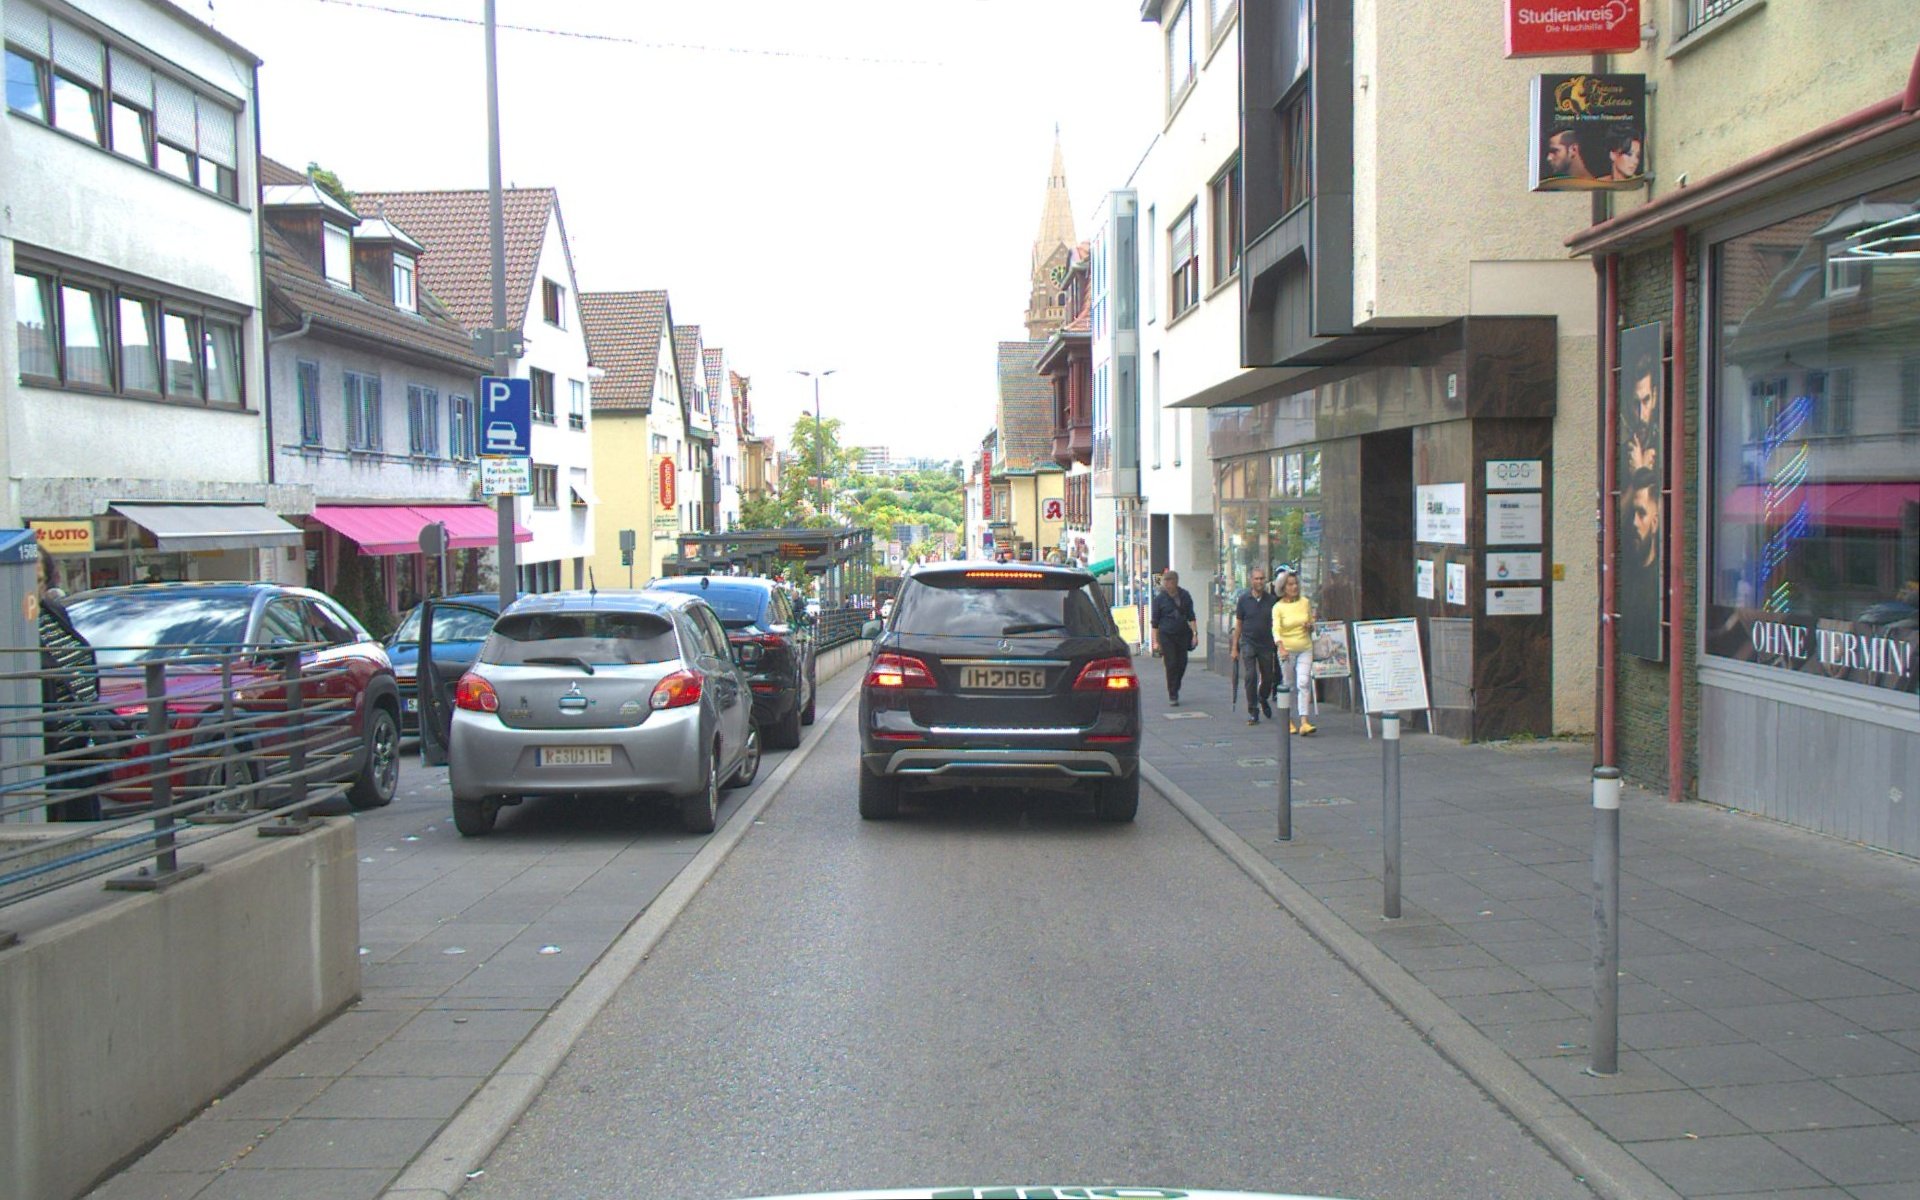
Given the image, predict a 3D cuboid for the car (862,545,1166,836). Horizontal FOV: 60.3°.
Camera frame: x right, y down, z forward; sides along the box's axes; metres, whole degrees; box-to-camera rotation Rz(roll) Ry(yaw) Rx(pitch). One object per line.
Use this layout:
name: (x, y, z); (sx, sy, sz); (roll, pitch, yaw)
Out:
car: (0.248, 0.563, 12.235); (1.862, 1.777, 3.998); (1, 0, -3)

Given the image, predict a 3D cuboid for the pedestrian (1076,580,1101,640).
pedestrian: (3.730, 0.285, 48.032); (0.562, 1.718, 0.565); (-2, 0, -7)

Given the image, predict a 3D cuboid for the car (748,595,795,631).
car: (-8.299, 0.552, 73.025); (1.655, 1.516, 3.978); (1, 0, -1)

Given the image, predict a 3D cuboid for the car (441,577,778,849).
car: (-2.232, 0.654, 11.430); (1.587, 1.559, 3.669); (1, 0, -1)

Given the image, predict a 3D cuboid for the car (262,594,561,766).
car: (-5.302, 0.704, 16.524); (1.703, 1.501, 3.883); (1, 0, -1)

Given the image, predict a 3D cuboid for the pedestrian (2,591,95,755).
pedestrian: (-9.871, 0.774, 17.907); (0.634, 1.718, 0.663); (-1, 1, 39)

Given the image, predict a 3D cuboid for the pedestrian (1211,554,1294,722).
pedestrian: (3.228, 0.407, 18.305); (0.697, 1.784, 0.785); (-3, 0, -1)

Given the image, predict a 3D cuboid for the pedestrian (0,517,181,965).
pedestrian: (-3.666, 0.532, 6.737); (0.522, 1.701, 0.901); (0, 1, 2)

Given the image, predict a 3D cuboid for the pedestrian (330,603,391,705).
pedestrian: (-9.437, 0.834, 26.067); (0.651, 1.566, 0.946); (0, 0, -3)

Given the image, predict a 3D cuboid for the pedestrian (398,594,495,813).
pedestrian: (-3.533, 0.694, 11.409); (0.457, 1.456, 0.492); (-3, 0, -1)

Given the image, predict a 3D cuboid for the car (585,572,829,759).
car: (-2.446, 0.590, 17.050); (1.917, 1.668, 4.313); (1, 0, -1)

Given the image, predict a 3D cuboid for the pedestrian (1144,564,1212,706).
pedestrian: (2.832, 0.443, 21.566); (0.697, 1.784, 0.787); (-3, 0, -1)

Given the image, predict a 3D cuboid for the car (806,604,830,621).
car: (-9.691, 0.854, 112.757); (1.360, 1.089, 3.112); (-1, 0, -1)

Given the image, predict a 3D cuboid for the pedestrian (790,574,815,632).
pedestrian: (-4.720, 0.100, 49.603); (0.598, 1.718, 0.563); (1, 0, 8)

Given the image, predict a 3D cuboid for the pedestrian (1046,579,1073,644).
pedestrian: (2.631, 0.304, 43.850); (0.609, 1.718, 0.565); (1, 0, -7)

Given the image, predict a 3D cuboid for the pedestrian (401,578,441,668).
pedestrian: (-10.392, 0.436, 31.911); (0.566, 1.718, 0.576); (1, 0, -2)

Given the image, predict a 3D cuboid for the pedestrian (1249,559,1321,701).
pedestrian: (4.096, 0.373, 20.877); (0.650, 1.718, 0.542); (-4, 0, -7)

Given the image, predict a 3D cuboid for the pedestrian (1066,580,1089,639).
pedestrian: (3.461, 0.290, 48.863); (0.562, 1.718, 0.565); (1, 0, -7)

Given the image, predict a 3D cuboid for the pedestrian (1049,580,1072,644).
pedestrian: (2.832, 0.336, 46.486); (0.532, 1.756, 0.527); (-1, 0, -7)

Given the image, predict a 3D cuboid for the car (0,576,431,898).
car: (-4.764, 0.666, 10.191); (1.703, 1.570, 4.192); (1, 0, -1)

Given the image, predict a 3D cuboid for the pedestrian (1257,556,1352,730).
pedestrian: (3.429, 0.418, 16.538); (0.697, 1.659, 0.835); (-3, 0, -1)
